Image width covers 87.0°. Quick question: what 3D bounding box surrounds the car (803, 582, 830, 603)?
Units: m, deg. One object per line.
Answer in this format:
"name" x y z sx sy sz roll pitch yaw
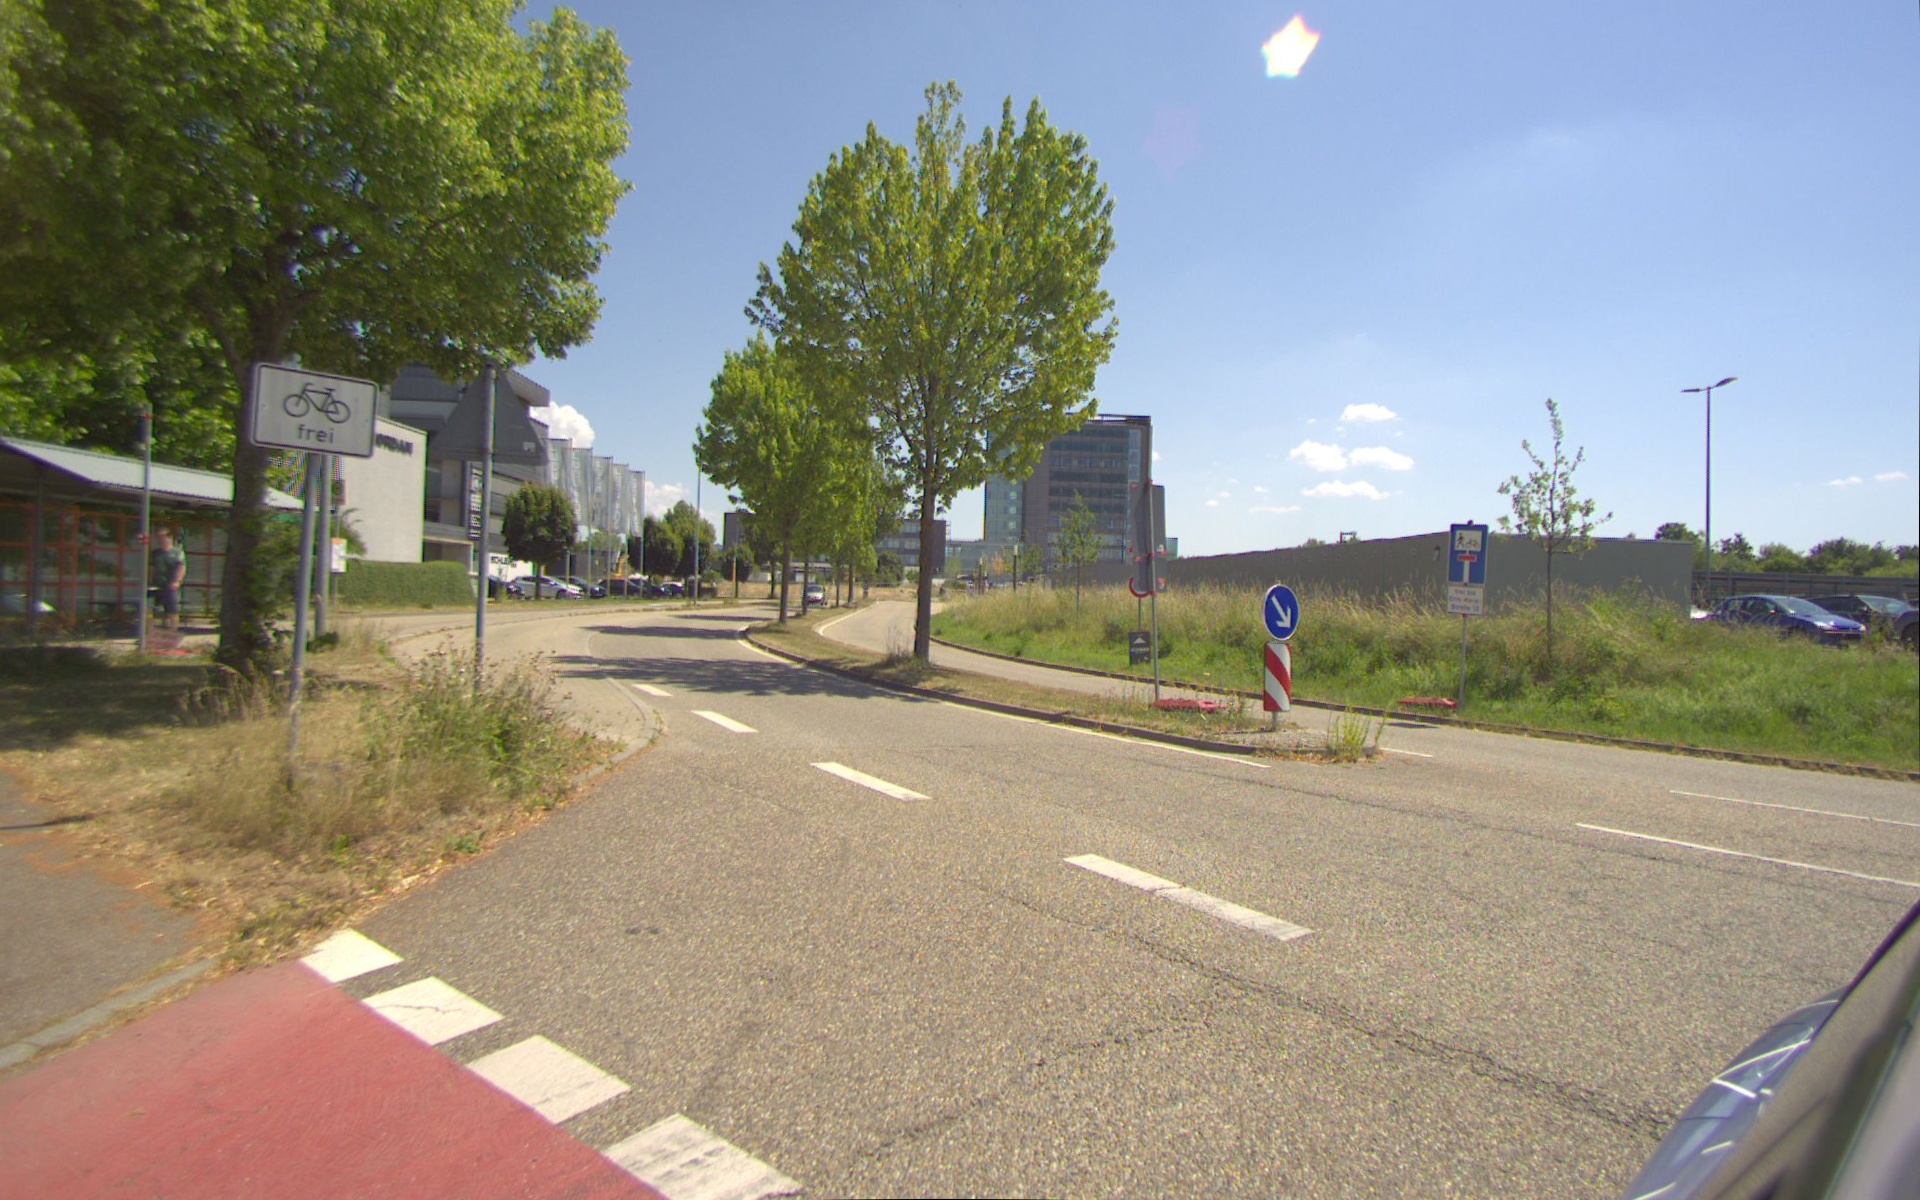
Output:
"car" -11.392 -0.583 80.409 1.648 1.524 3.571 0 -2 1

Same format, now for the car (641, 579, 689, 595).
"car" -25.888 -1.126 88.866 3.816 1.290 1.707 1 1 -3

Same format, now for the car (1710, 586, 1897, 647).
"car" 22.600 0.400 27.294 1.618 1.464 3.646 1 1 -10

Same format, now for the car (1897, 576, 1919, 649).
"car" 23.515 0.317 22.025 1.742 1.712 4.607 2 -1 -4

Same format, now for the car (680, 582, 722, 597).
"car" -25.138 -1.025 98.315 3.769 1.290 1.611 1 1 -3

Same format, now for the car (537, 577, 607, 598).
"car" -24.611 -0.799 64.329 3.816 1.197 1.707 1 1 -3

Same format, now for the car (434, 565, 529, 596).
"car" -23.356 -0.957 49.460 3.841 1.396 1.707 1 1 -3

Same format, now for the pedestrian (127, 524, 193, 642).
"pedestrian" -11.730 -0.240 14.838 0.573 1.691 0.526 -1 -2 25

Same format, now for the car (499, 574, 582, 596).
"car" -24.445 -0.848 59.027 4.192 1.198 1.494 0 -2 -3

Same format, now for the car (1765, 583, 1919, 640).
"car" 25.745 0.286 29.435 1.567 1.518 3.643 1 1 -4

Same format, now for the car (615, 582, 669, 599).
"car" -25.266 -0.760 80.459 3.816 1.290 1.707 1 1 -3

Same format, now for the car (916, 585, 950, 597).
"car" -3.102 -1.053 115.125 3.769 1.290 1.611 1 1 -3

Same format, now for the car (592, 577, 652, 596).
"car" -24.621 -0.966 73.774 3.816 1.290 1.707 1 1 -3
